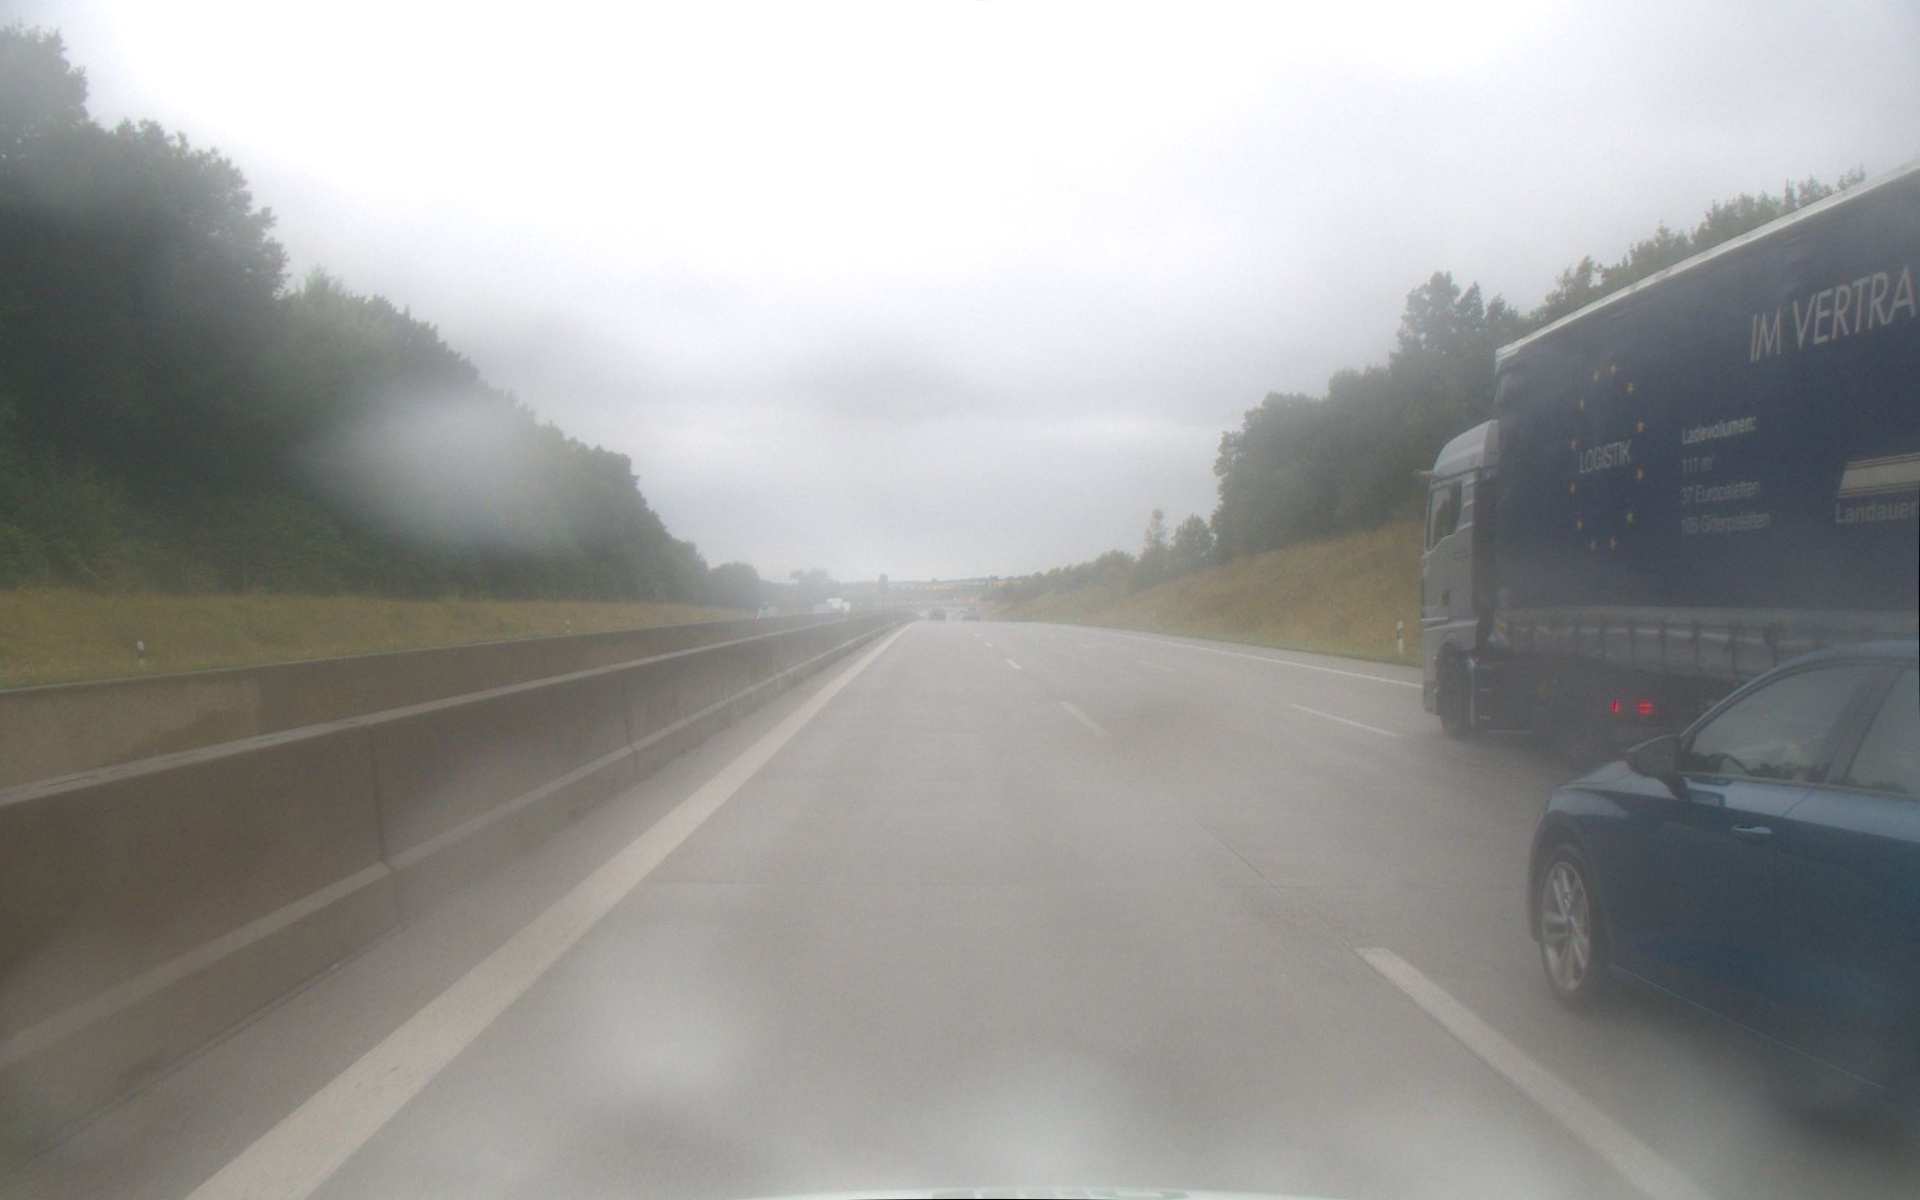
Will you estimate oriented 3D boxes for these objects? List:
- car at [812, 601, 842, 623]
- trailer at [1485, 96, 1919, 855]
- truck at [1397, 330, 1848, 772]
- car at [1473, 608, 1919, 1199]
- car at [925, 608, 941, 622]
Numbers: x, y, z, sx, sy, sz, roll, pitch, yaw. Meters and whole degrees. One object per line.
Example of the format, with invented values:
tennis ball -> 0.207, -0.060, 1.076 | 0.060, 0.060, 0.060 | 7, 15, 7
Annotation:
car -> -10.452, 0.929, 130.447 | 1.928, 1.638, 4.852 | -1, 0, 0
trailer -> 6.956, -0.722, 9.795 | 2.651, 4.456, 15.202 | 1, 0, -1
truck -> 6.826, -0.455, 18.003 | 2.582, 4.023, 5.685 | 1, 0, 0
car -> 3.202, 0.766, 5.116 | 1.694, 1.484, 4.671 | -1, -1, -1
car -> -2.787, 1.538, 170.339 | 1.694, 1.354, 4.429 | 0, 1, -1
